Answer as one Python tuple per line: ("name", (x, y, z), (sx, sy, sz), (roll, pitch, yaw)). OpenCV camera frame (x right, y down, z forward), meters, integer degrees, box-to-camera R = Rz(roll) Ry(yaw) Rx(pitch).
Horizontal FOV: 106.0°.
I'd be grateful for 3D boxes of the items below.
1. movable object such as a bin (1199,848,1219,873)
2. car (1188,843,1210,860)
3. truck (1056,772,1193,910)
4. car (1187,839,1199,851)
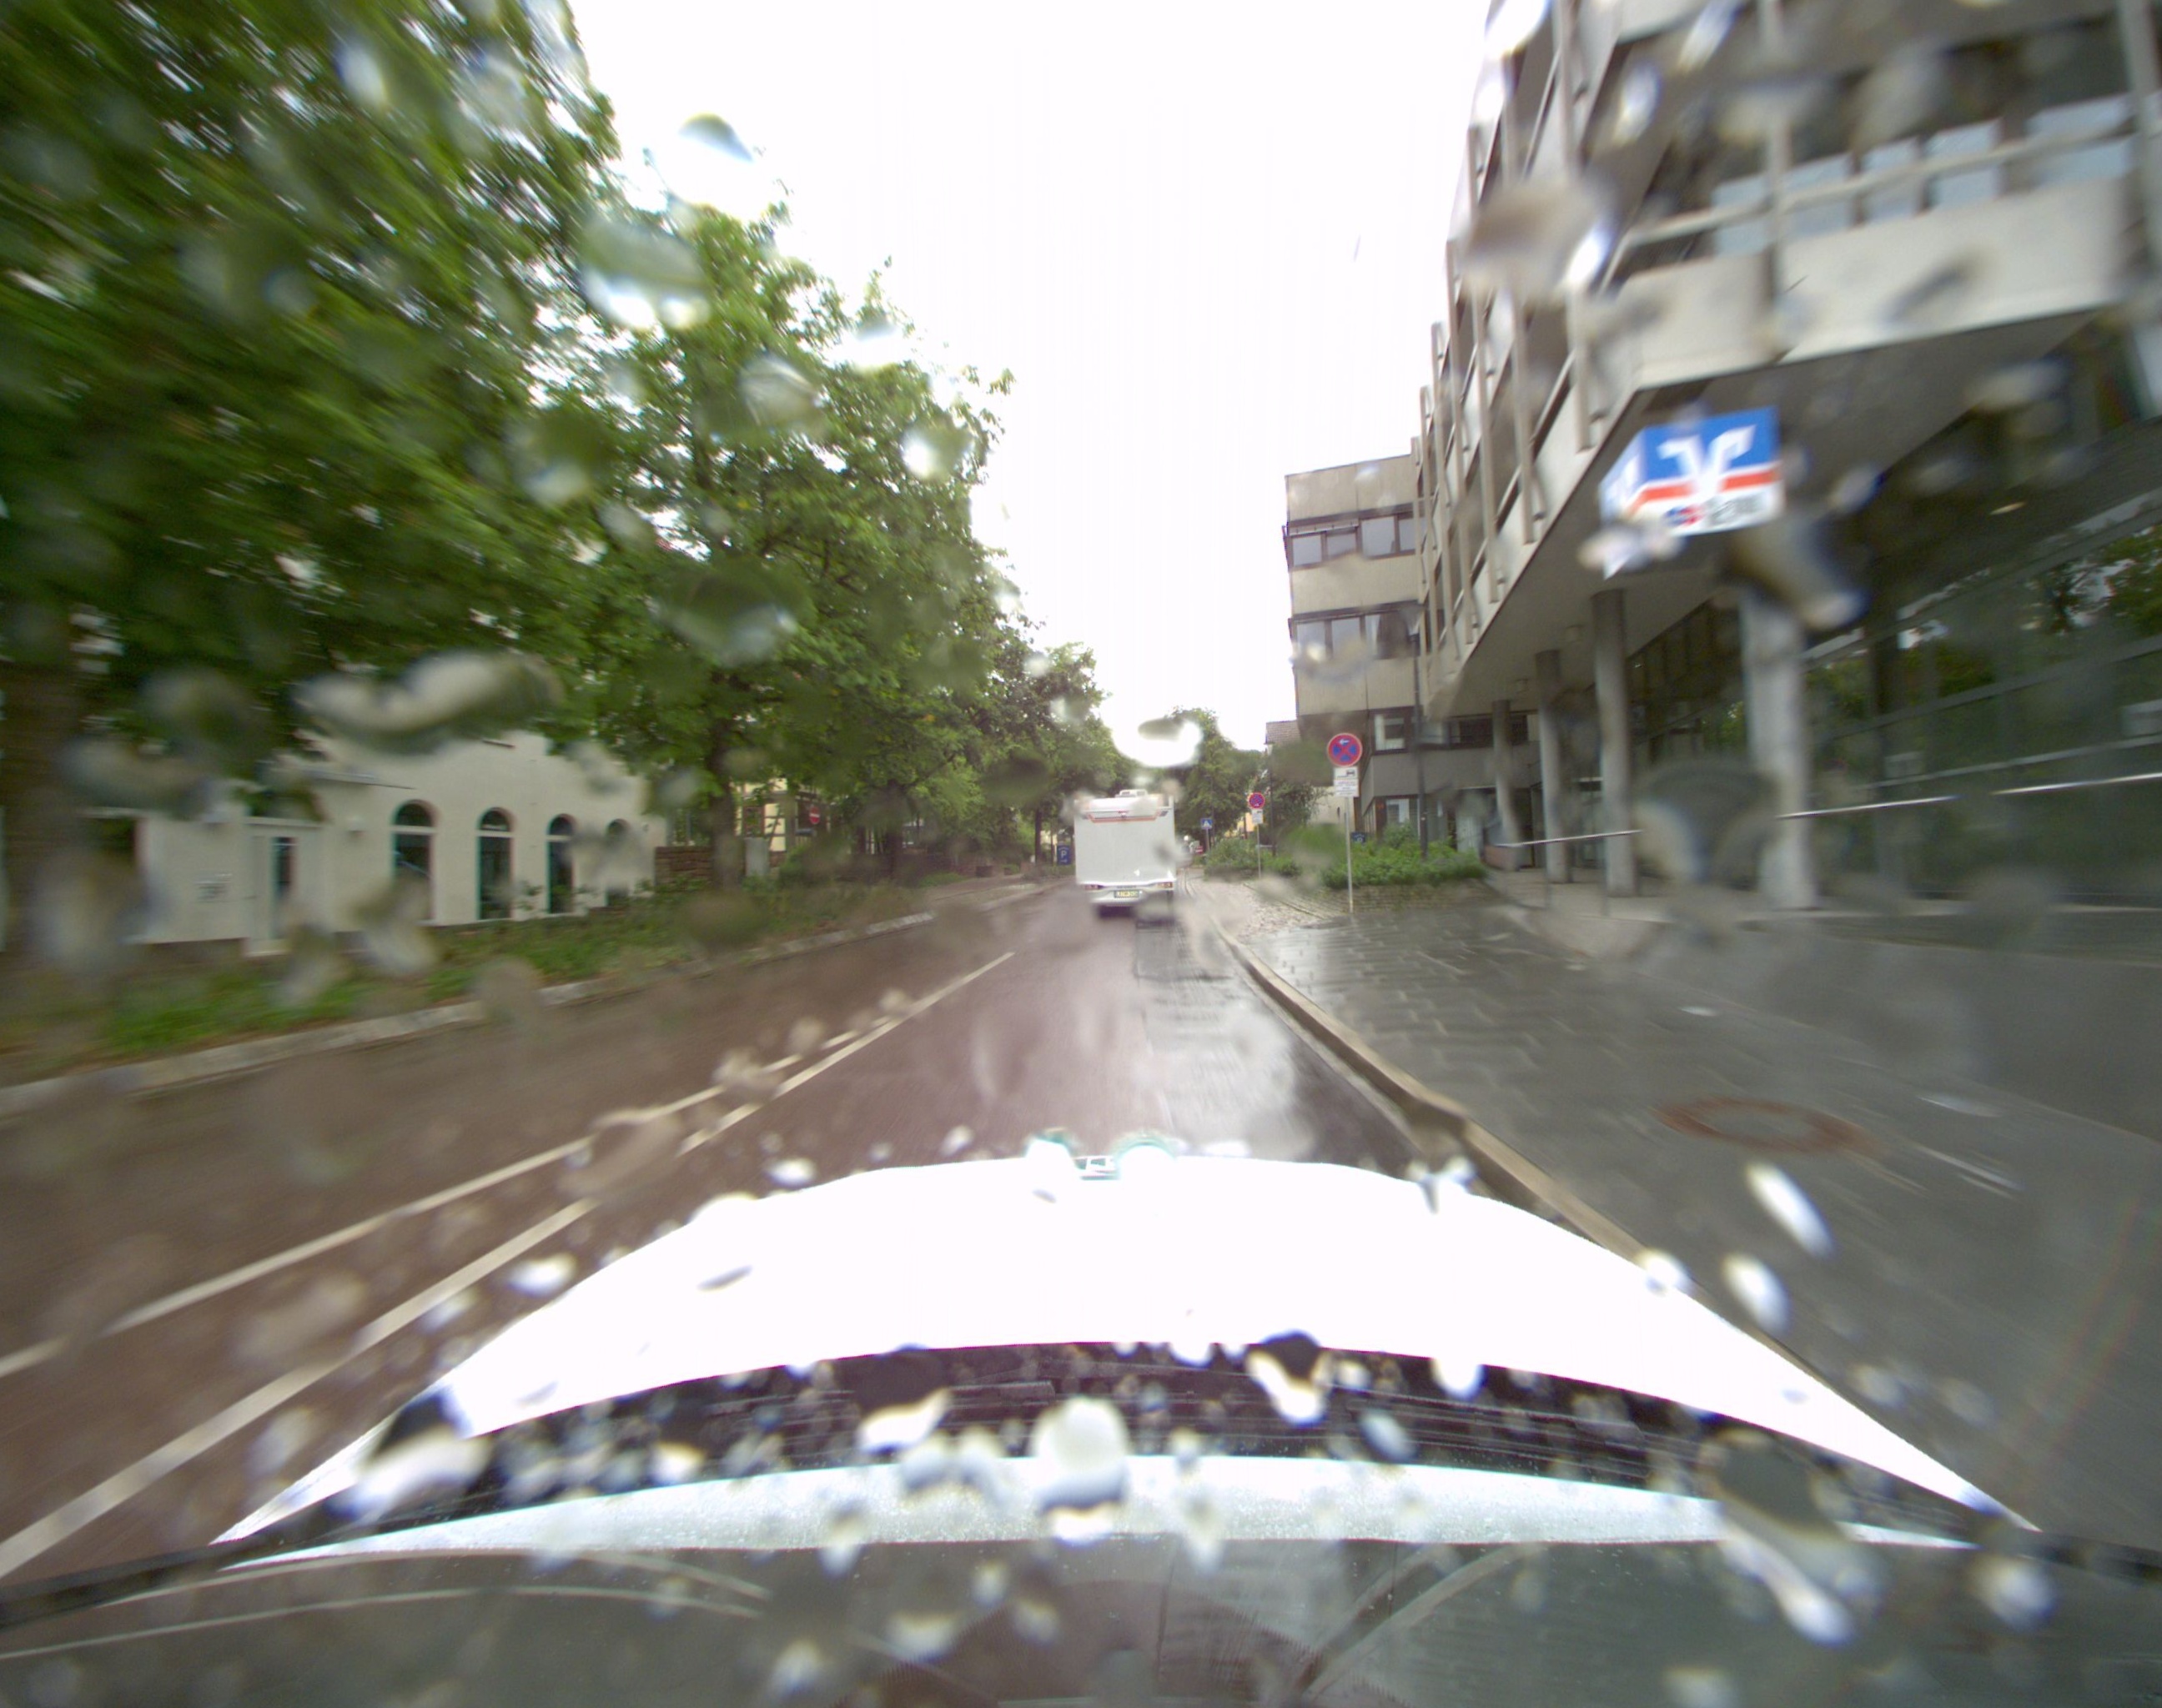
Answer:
("movable object such as a bin", (5.873, 0.290, 37.310), (0.697, 1.124, 0.574), (-4, -1, 23))
("car", (10.919, -0.228, 75.272), (1.843, 1.472, 4.378), (-1, 1, 11))
("truck", (1.330, -0.233, 20.466), (2.790, 2.797, 6.119), (-3, -1, 7))
("car", (15.772, -1.203, 114.649), (1.640, 1.542, 3.539), (-3, -1, 8))
